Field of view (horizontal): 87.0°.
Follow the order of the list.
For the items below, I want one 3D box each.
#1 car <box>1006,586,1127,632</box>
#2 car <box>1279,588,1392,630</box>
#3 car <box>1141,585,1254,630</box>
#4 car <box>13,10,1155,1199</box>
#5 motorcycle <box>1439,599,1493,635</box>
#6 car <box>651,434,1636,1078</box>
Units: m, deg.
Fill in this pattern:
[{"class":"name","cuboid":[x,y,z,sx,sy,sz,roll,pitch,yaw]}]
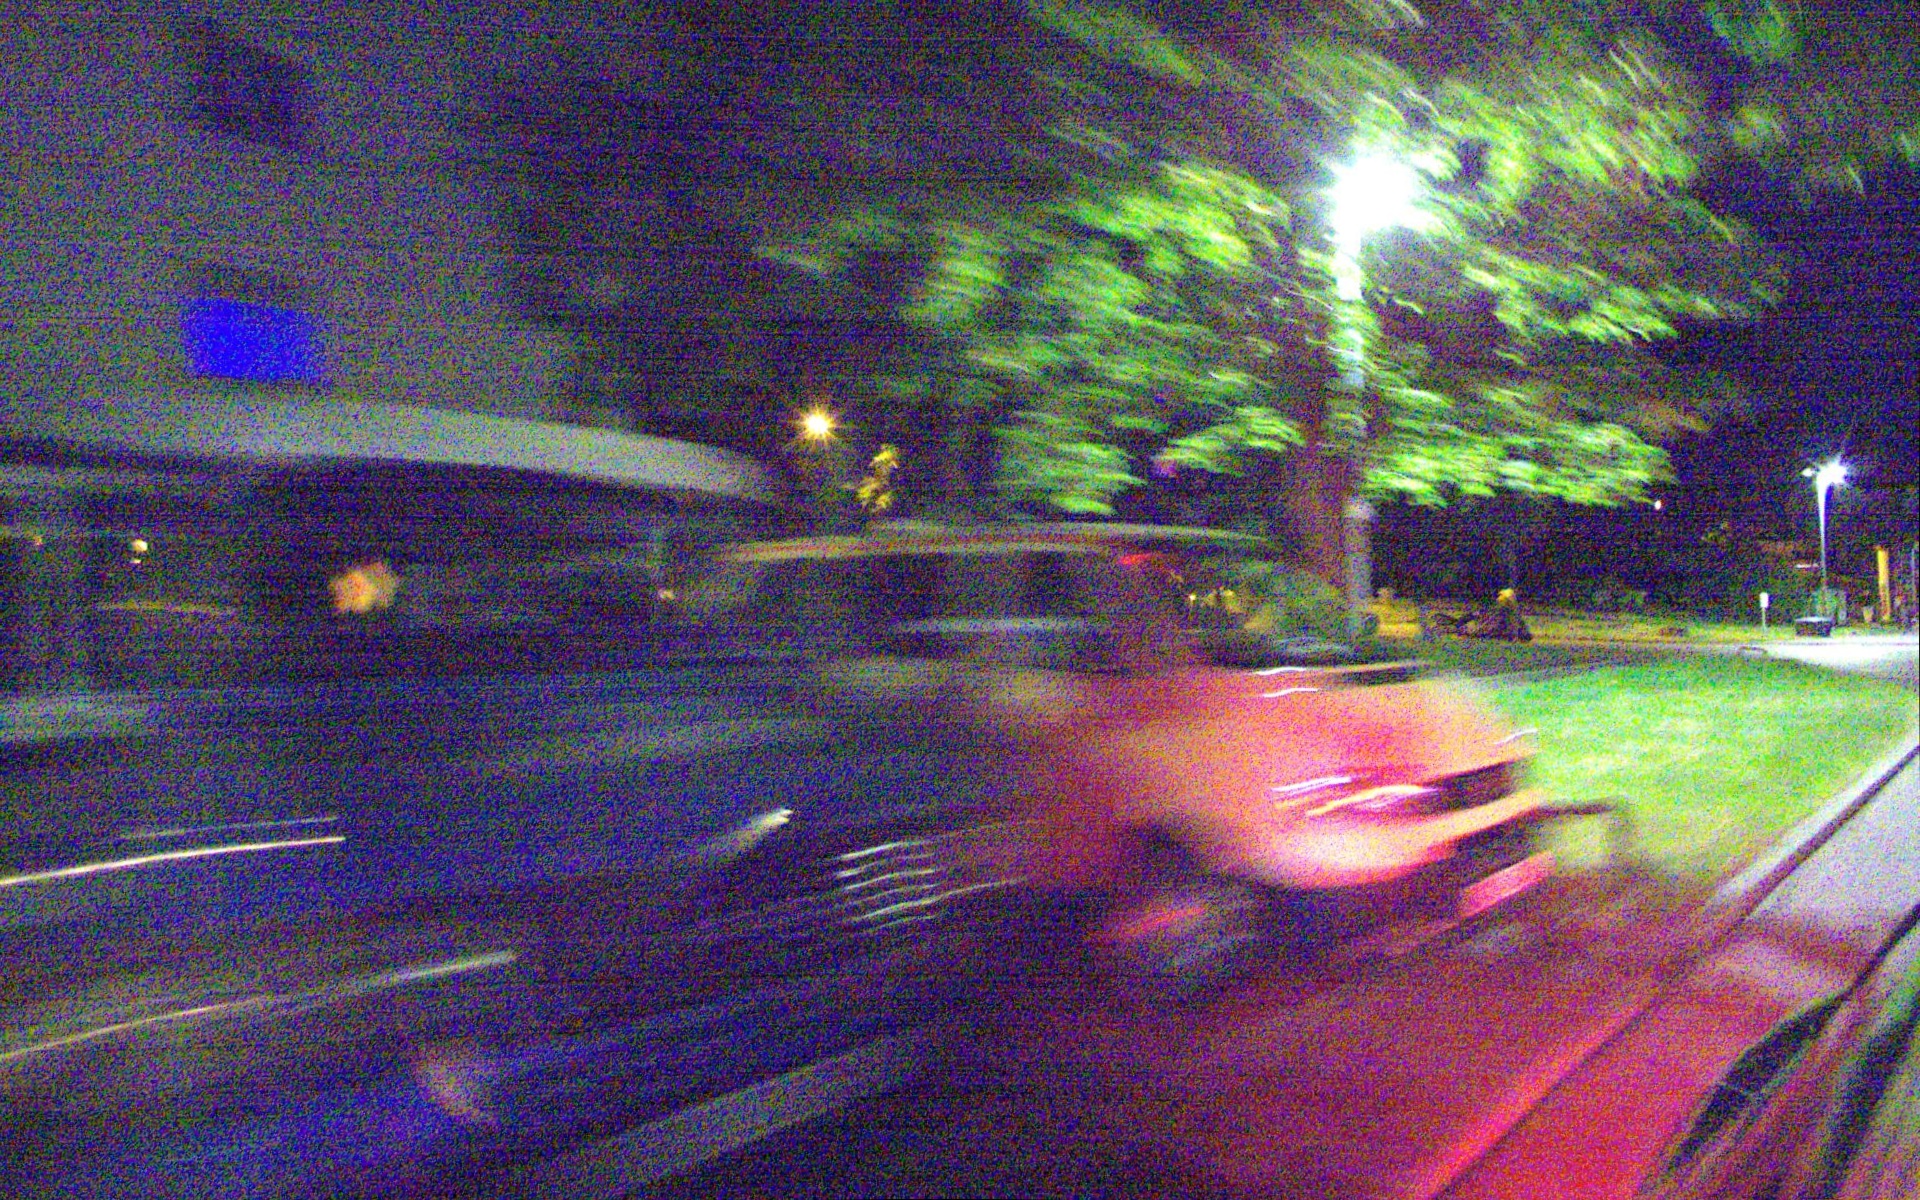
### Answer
[{"class":"car","cuboid":[4.349,0.328,41.465,4.597,1.694,1.919,1,1,22]},{"class":"car","cuboid":[13.591,0.282,36.697,3.527,1.387,1.737,2,2,35]},{"class":"car","cuboid":[9.201,0.249,39.232,3.965,1.618,1.742,2,1,28]},{"class":"car","cuboid":[-2.001,0.353,3.927,2.220,2.123,5.151,0,-1,-41]},{"class":"motorcycle","cuboid":[16.780,0.552,33.588,1.559,1.148,0.572,2,1,31]},{"class":"car","cuboid":[0.424,0.471,5.637,2.220,1.868,5.151,0,-1,-41]}]
